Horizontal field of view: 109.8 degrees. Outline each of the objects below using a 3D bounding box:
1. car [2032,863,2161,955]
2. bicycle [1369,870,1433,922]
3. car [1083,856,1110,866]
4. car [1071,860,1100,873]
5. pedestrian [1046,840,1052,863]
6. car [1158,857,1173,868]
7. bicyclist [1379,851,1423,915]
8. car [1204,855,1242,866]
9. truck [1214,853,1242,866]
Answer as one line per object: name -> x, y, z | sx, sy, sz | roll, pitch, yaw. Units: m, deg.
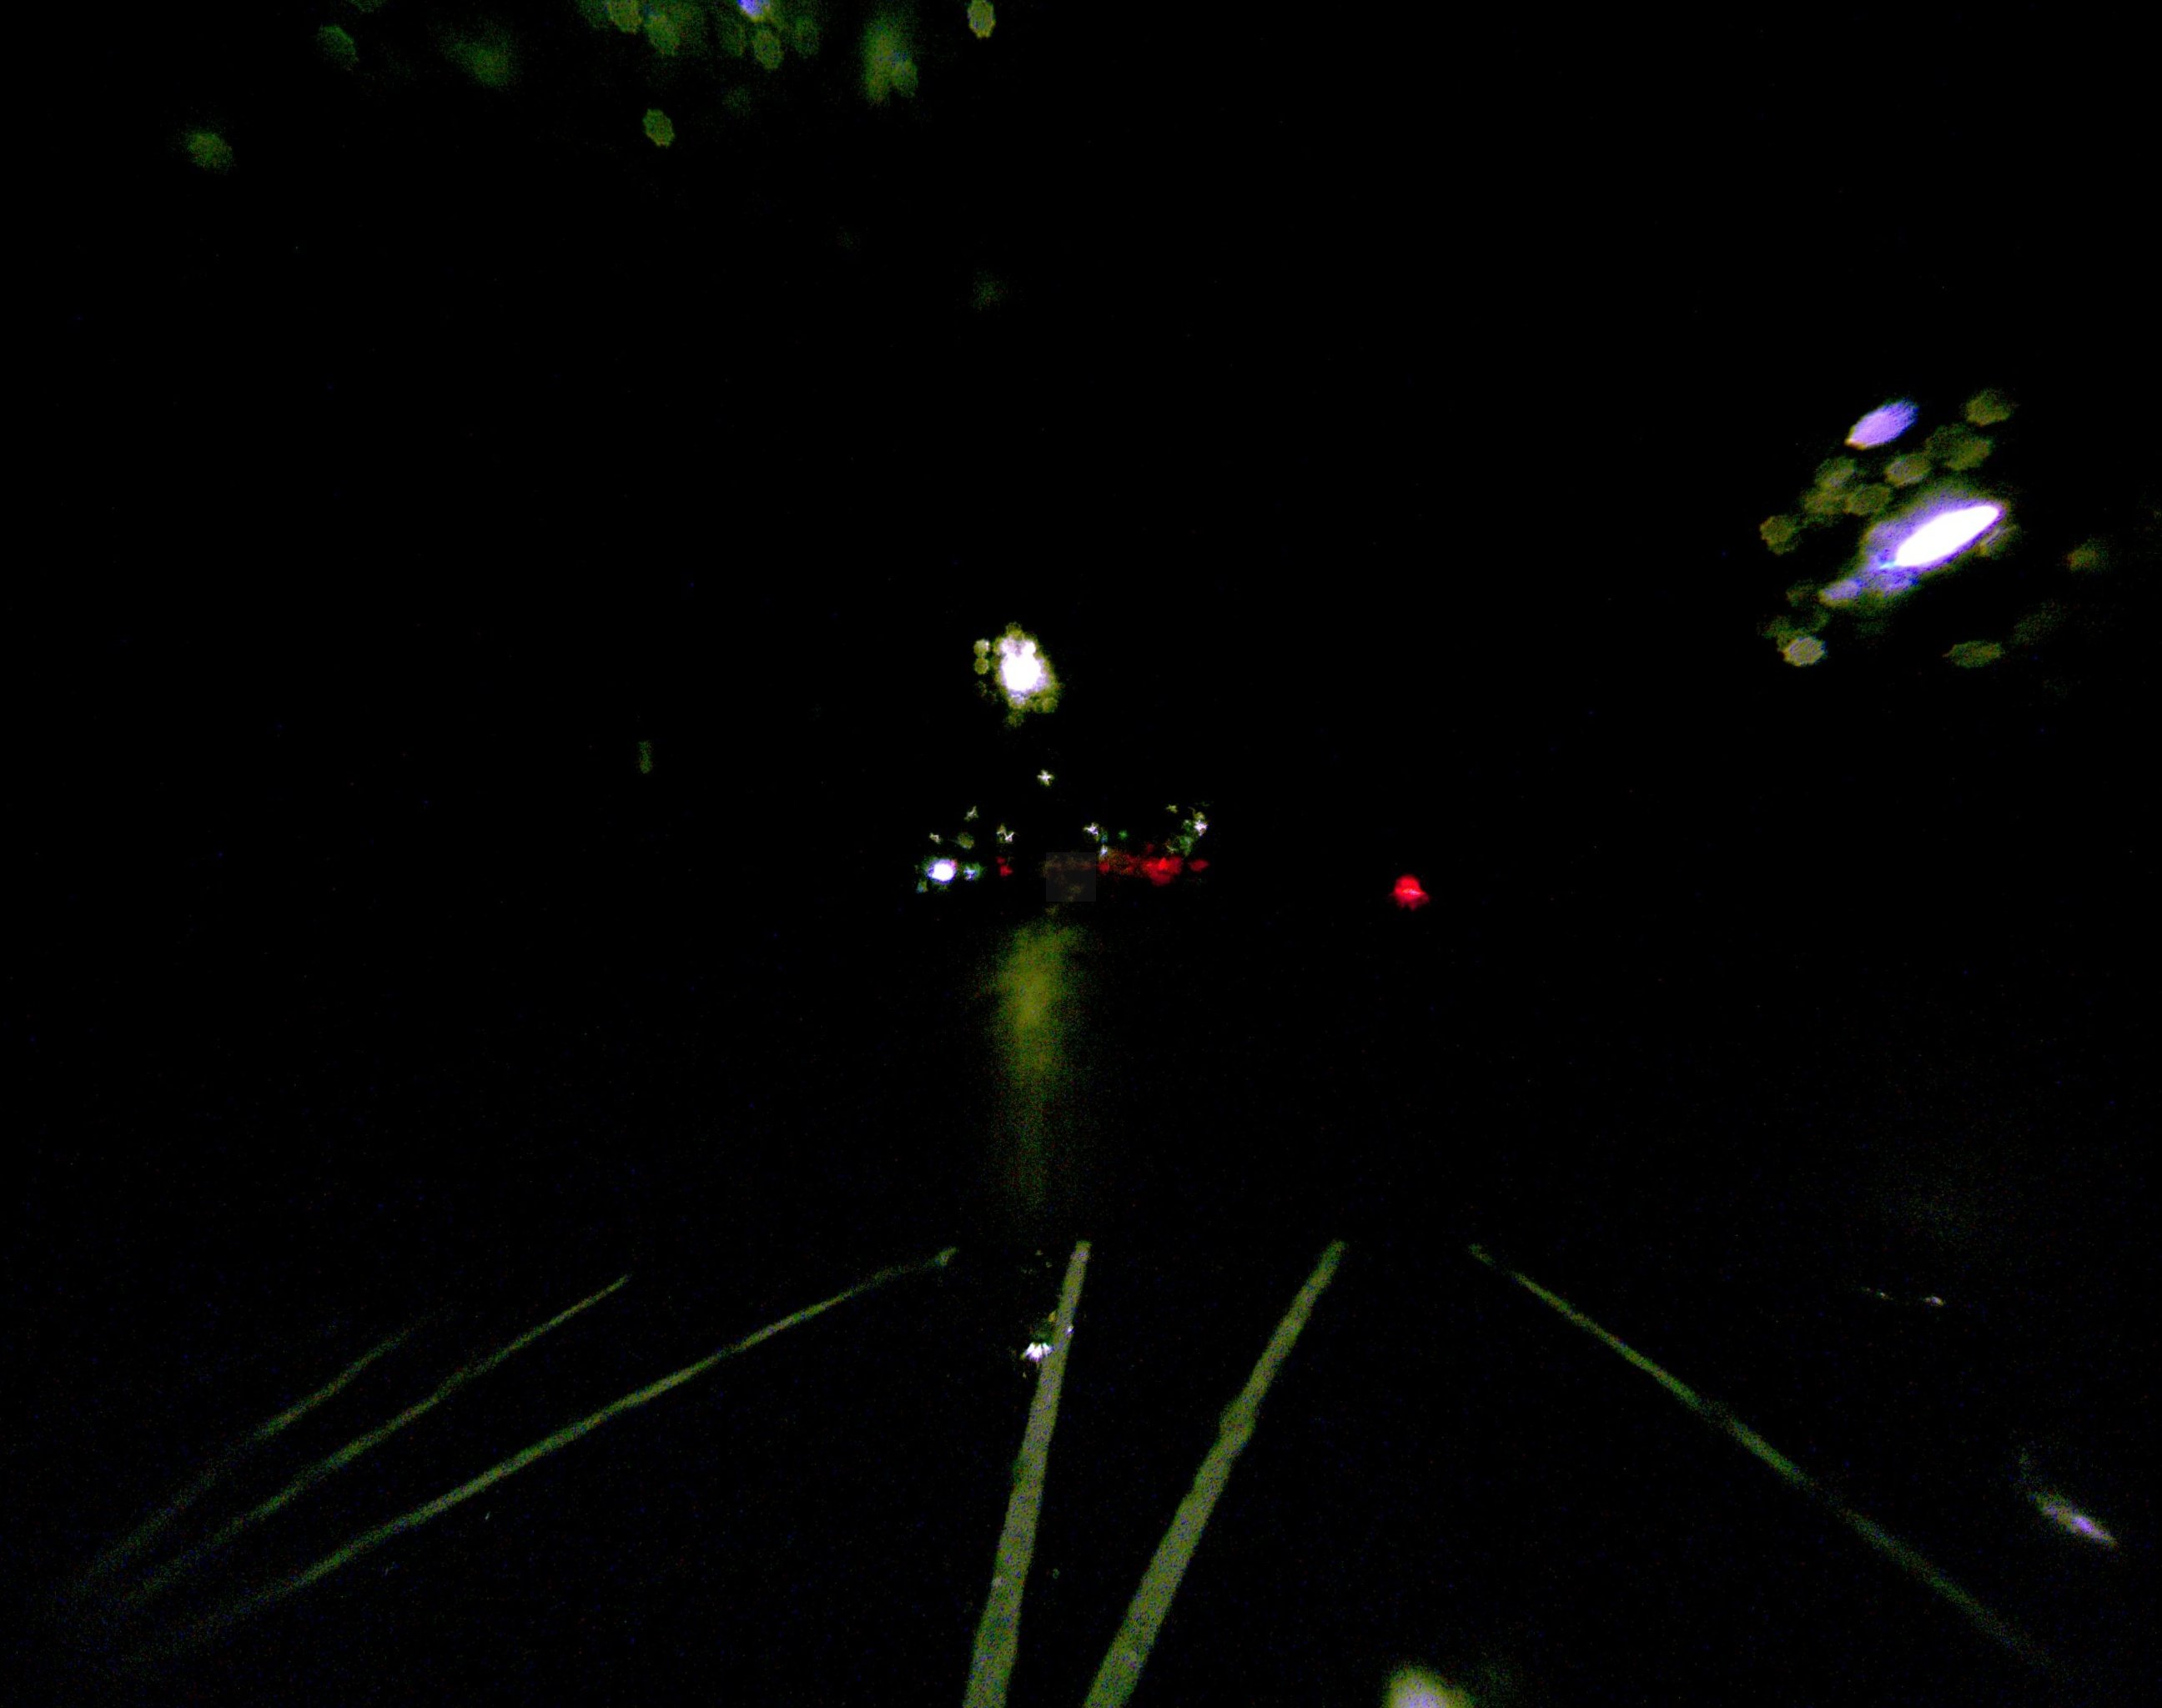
car -> 19.110, 0.884, 12.720 | 4.084, 1.364, 1.494 | 0, 4, 5
bicycle -> 8.250, 1.052, 19.695 | 0.631, 1.154, 2.313 | -2, 2, 0
car -> 2.667, 1.184, 129.824 | 4.430, 1.612, 1.999 | -1, 0, -4
car -> 0.662, 1.810, 112.343 | 3.988, 1.774, 2.004 | 0, 0, 39
pedestrian -> -2.862, -0.225, 68.107 | 0.550, 2.002, 0.742 | -1, 1, 0
car -> 12.819, 1.228, 114.698 | 1.997, 1.447, 4.306 | 3, 1, 8
bicyclist -> 8.254, 0.743, 19.634 | 0.638, 1.585, 0.961 | -2, -2, -1
car -> 25.302, 1.132, 135.811 | 6.446, 1.805, 1.997 | -1, 0, -16
truck -> 27.742, 0.982, 143.127 | 2.316, 2.382, 7.829 | 0, 0, 34
